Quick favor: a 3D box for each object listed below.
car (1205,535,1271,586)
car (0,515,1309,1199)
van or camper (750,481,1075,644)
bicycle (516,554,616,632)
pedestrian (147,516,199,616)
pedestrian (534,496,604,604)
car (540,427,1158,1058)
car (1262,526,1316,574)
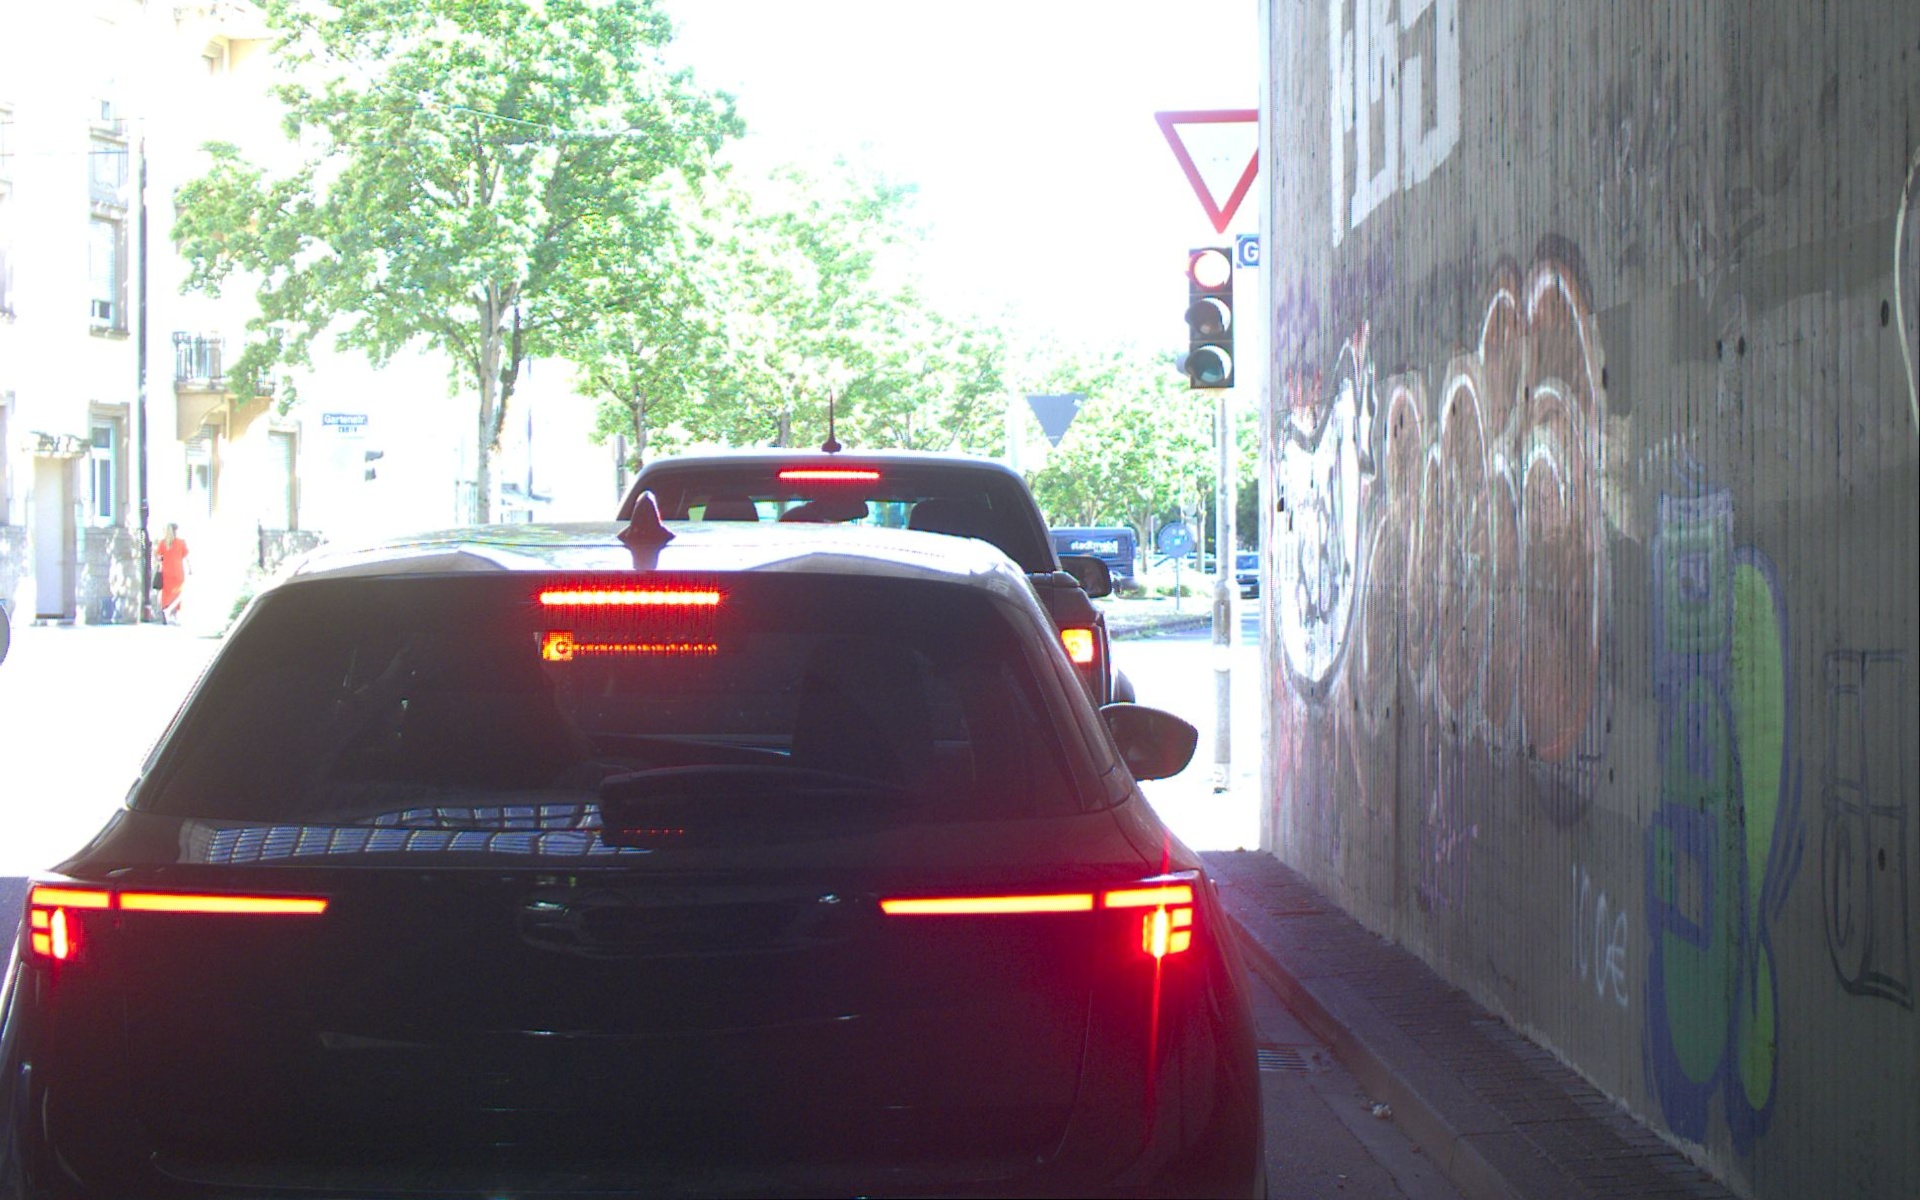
[{"bbox_3d":[8.120,-1.162,100.305,1.599,1.447,3.794,0,1,10],"label":"car"},{"bbox_3d":[-0.476,0.616,6.164,1.753,1.493,4.000,1,1,0],"label":"car"},{"bbox_3d":[-0.568,-0.479,43.614,3.878,2.007,2.000,0,1,7],"label":"van or camper"},{"bbox_3d":[-5.867,-0.113,51.342,0.737,1.126,2.025,0,1,17],"label":"bicycle"},{"bbox_3d":[-13.525,-0.591,59.089,0.623,1.699,0.723,1,0,10],"label":"pedestrian"},{"bbox_3d":[-5.842,-0.746,51.417,0.736,1.579,0.889,1,0,15],"label":"pedestrian"},{"bbox_3d":[-0.342,0.381,12.033,1.786,1.827,3.961,1,1,0],"label":"car"},{"bbox_3d":[11.295,-1.727,117.883,1.584,1.634,3.804,0,1,10],"label":"car"}]
